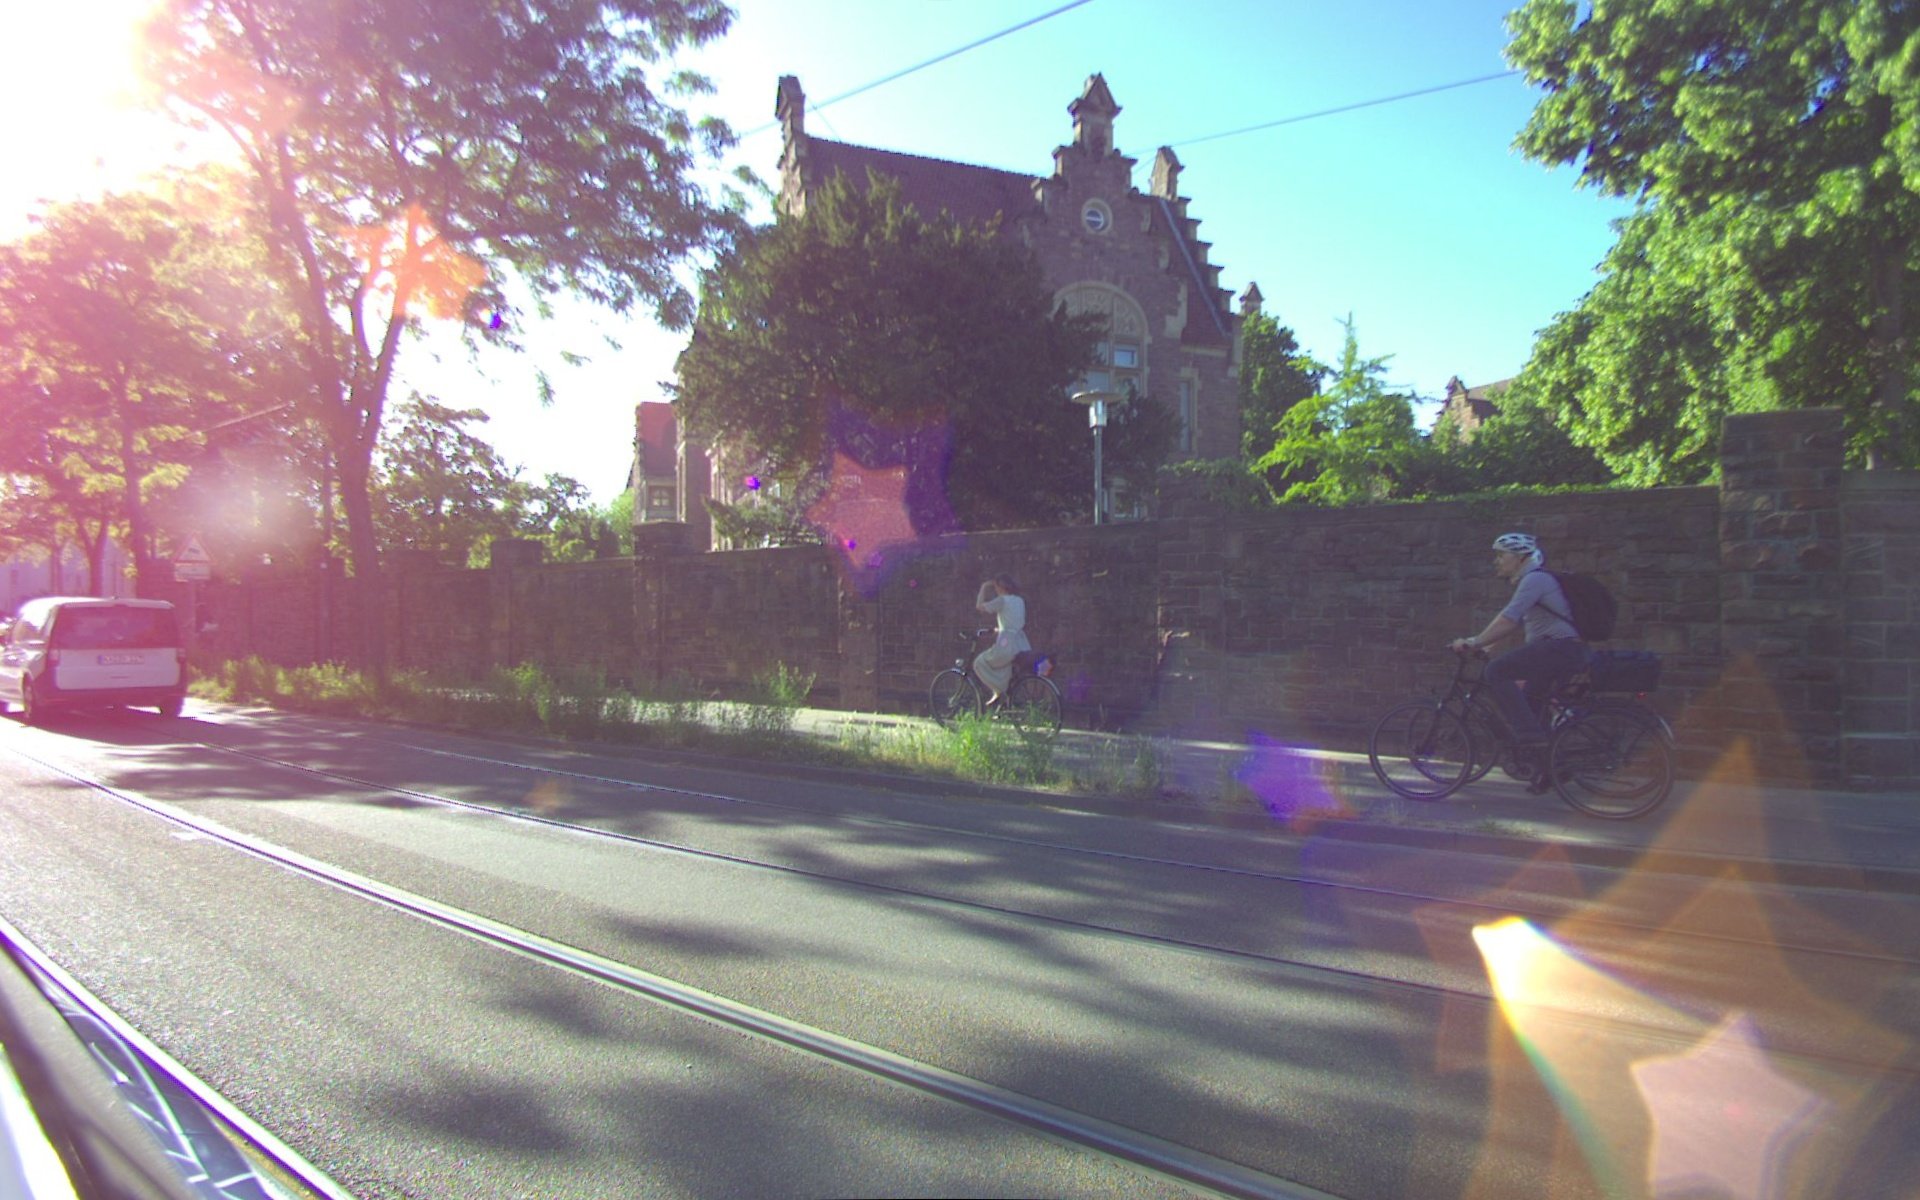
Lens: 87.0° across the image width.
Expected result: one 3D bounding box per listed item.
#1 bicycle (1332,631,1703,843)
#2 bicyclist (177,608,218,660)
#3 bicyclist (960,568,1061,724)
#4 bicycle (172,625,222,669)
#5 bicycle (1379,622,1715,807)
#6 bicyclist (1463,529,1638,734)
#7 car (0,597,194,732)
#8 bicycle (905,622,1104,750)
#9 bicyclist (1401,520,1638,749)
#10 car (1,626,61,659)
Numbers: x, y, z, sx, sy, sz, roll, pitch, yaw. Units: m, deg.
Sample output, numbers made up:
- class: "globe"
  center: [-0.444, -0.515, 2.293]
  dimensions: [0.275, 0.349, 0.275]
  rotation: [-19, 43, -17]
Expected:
- class: "bicycle"
  center: [3.741, 0.833, 6.924]
  dimensions: [2.102, 1.200, 0.764]
  rotation: [-1, 0, 41]
- class: "bicyclist"
  center: [-19.528, 0.851, 25.926]
  dimensions: [0.871, 1.294, 0.676]
  rotation: [-1, 0, 41]
- class: "bicyclist"
  center: [0.527, 0.459, 10.560]
  dimensions: [0.751, 1.546, 0.734]
  rotation: [-1, 0, 41]
- class: "bicycle"
  center: [-19.597, 1.187, 25.990]
  dimensions: [1.735, 1.086, 0.676]
  rotation: [-1, 0, 41]
- class: "bicycle"
  center: [4.325, 0.773, 7.578]
  dimensions: [2.083, 1.200, 0.725]
  rotation: [-1, 0, 35]
- class: "bicyclist"
  center: [4.392, 0.216, 7.531]
  dimensions: [1.058, 1.401, 0.725]
  rotation: [-1, 0, 35]
- class: "car"
  center: [-13.551, 0.898, 15.557]
  dimensions: [3.993, 1.824, 1.810]
  rotation: [-1, -1, 37]
- class: "bicycle"
  center: [0.429, 0.842, 10.649]
  dimensions: [2.087, 1.200, 0.737]
  rotation: [-1, 0, 41]
- class: "bicyclist"
  center: [3.788, 0.213, 6.883]
  dimensions: [1.271, 1.401, 0.758]
  rotation: [-1, 0, 41]
- class: "car"
  center: [-45.407, 2.049, 49.444]
  dimensions: [3.998, 1.453, 1.718]
  rotation: [-1, 0, 41]
